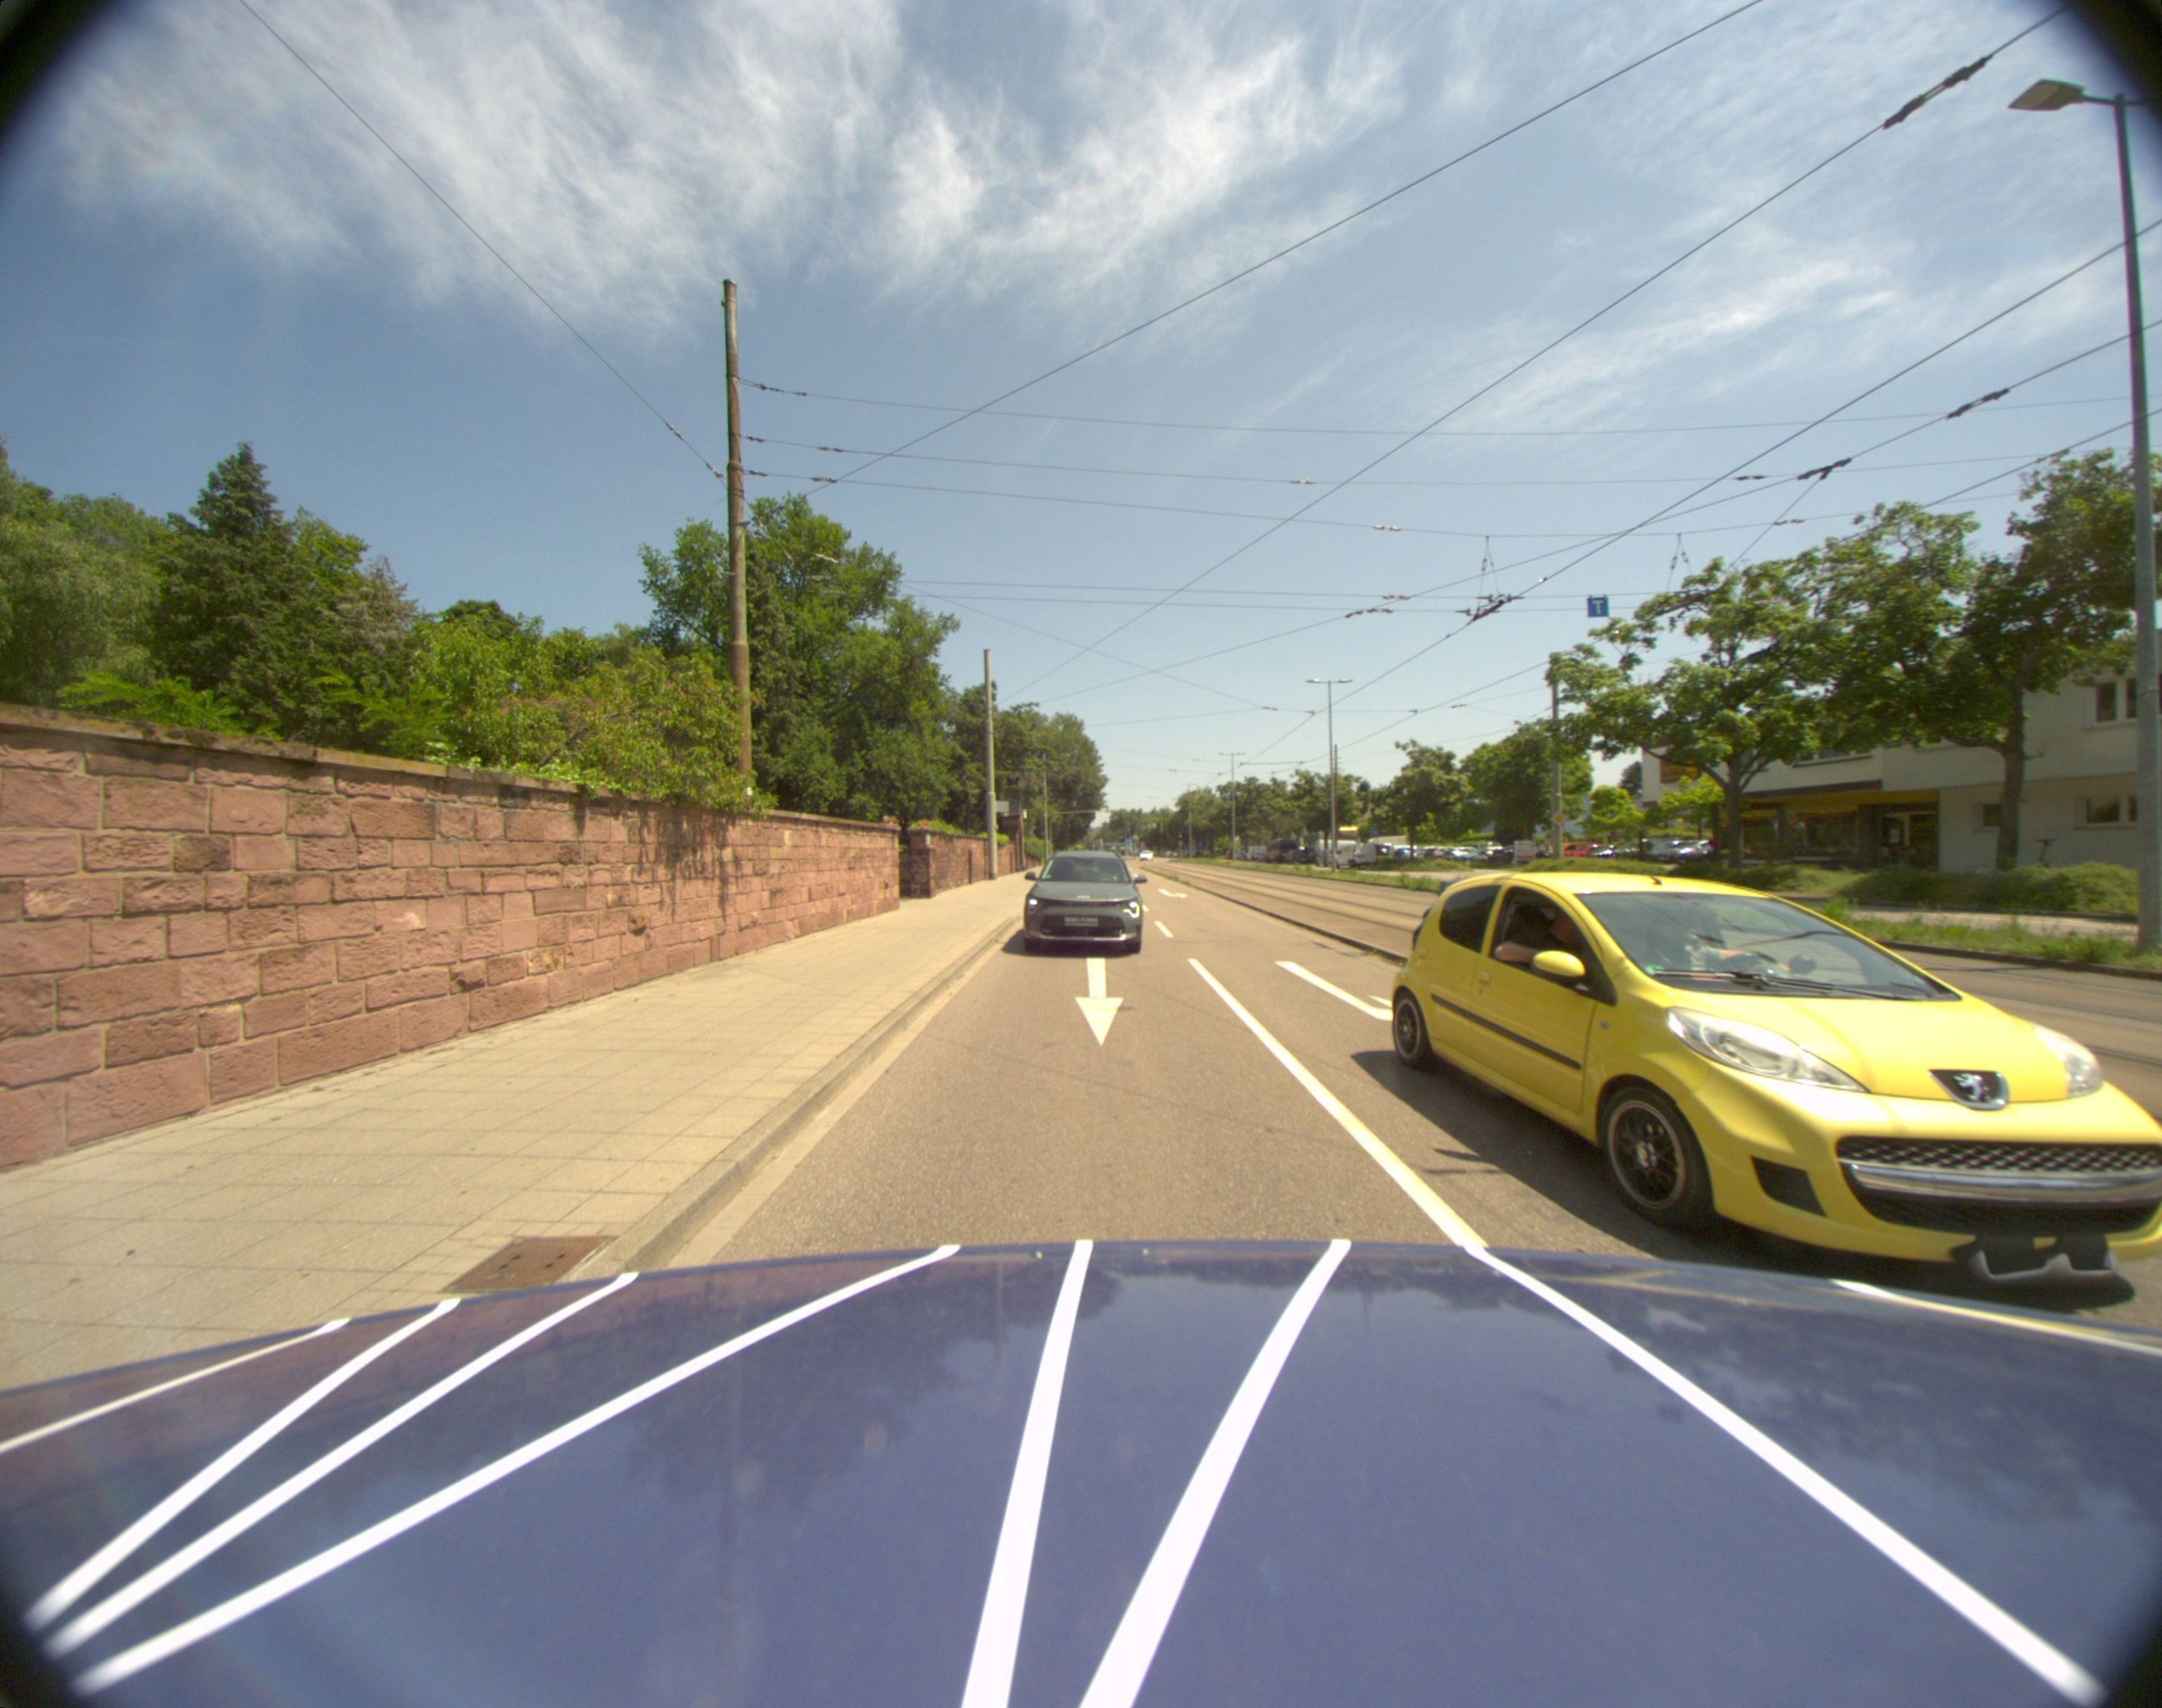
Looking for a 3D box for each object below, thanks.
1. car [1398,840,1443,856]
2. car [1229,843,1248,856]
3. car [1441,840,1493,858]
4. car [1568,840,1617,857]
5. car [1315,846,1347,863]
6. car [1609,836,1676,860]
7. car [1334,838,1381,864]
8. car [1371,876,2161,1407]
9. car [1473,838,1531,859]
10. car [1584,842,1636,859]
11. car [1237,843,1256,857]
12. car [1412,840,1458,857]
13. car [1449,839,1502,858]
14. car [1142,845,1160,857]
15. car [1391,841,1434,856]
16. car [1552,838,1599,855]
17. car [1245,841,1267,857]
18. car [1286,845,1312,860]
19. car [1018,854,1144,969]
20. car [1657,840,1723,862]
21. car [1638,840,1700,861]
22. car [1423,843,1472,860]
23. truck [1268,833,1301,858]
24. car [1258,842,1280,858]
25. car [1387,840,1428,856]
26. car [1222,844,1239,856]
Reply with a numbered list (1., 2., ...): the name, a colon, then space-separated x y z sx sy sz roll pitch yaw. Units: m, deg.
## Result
1. car: 31.322 -0.530 70.188 3.414 1.386 1.602 -1 1 -4
2. car: 21.745 -0.626 104.961 1.681 1.783 4.202 -1 0 0
3. car: 31.619 -0.395 62.294 3.414 1.386 1.602 -1 1 -4
4. car: 45.170 -0.490 67.151 3.355 1.450 1.506 -1 1 -2
5. car: 21.194 0.053 64.567 1.674 1.379 3.569 -1 1 3
6. car: 43.892 -0.479 59.441 3.998 1.774 1.813 -1 1 -2
7. car: 21.053 -0.215 58.053 1.998 1.872 4.661 -1 1 1
8. car: 3.080 0.927 4.099 1.620 1.413 3.655 1 1 0
9. car: 31.873 -0.425 57.584 3.414 1.482 1.793 -1 1 -4
10. car: 44.804 -0.292 64.385 3.355 1.381 1.506 -1 1 -2
11. car: 21.779 -0.573 100.108 1.681 1.783 4.202 -1 1 0
12. car: 31.545 -0.488 67.778 3.414 1.386 1.602 -1 1 -4
13. car: 31.155 -0.443 60.017 3.414 1.482 1.598 -1 1 -4
14. car: 10.510 -0.480 114.258 1.996 1.652 4.004 -1 1 15
15. car: 31.888 -0.574 73.075 3.414 1.386 1.602 -1 1 -4
16. car: 45.389 -0.692 69.739 3.355 1.552 1.506 -1 1 -2
17. car: 21.756 -0.601 94.403 1.681 1.963 4.509 -1 1 0
18. car: 21.362 -0.166 74.442 1.674 1.379 3.669 -1 1 3
19. car: 0.057 0.815 12.950 1.789 1.561 4.184 1 1 2
20. car: 43.817 -0.221 54.668 3.492 1.528 1.624 -1 1 -2
21. car: 44.160 -0.282 57.119 3.492 1.528 1.534 -1 1 -2
22. car: 31.086 -0.240 64.565 3.414 1.386 1.602 -1 1 -4
23. truck: 21.506 -0.898 80.528 2.225 2.527 4.929 -1 1 2
24. car: 22.060 -0.459 89.145 1.681 1.783 3.868 -1 1 0
25. car: 32.505 -0.613 75.731 3.414 1.497 1.602 -1 1 -4
26. car: 21.898 -0.653 111.532 1.681 1.693 3.823 -1 1 0
